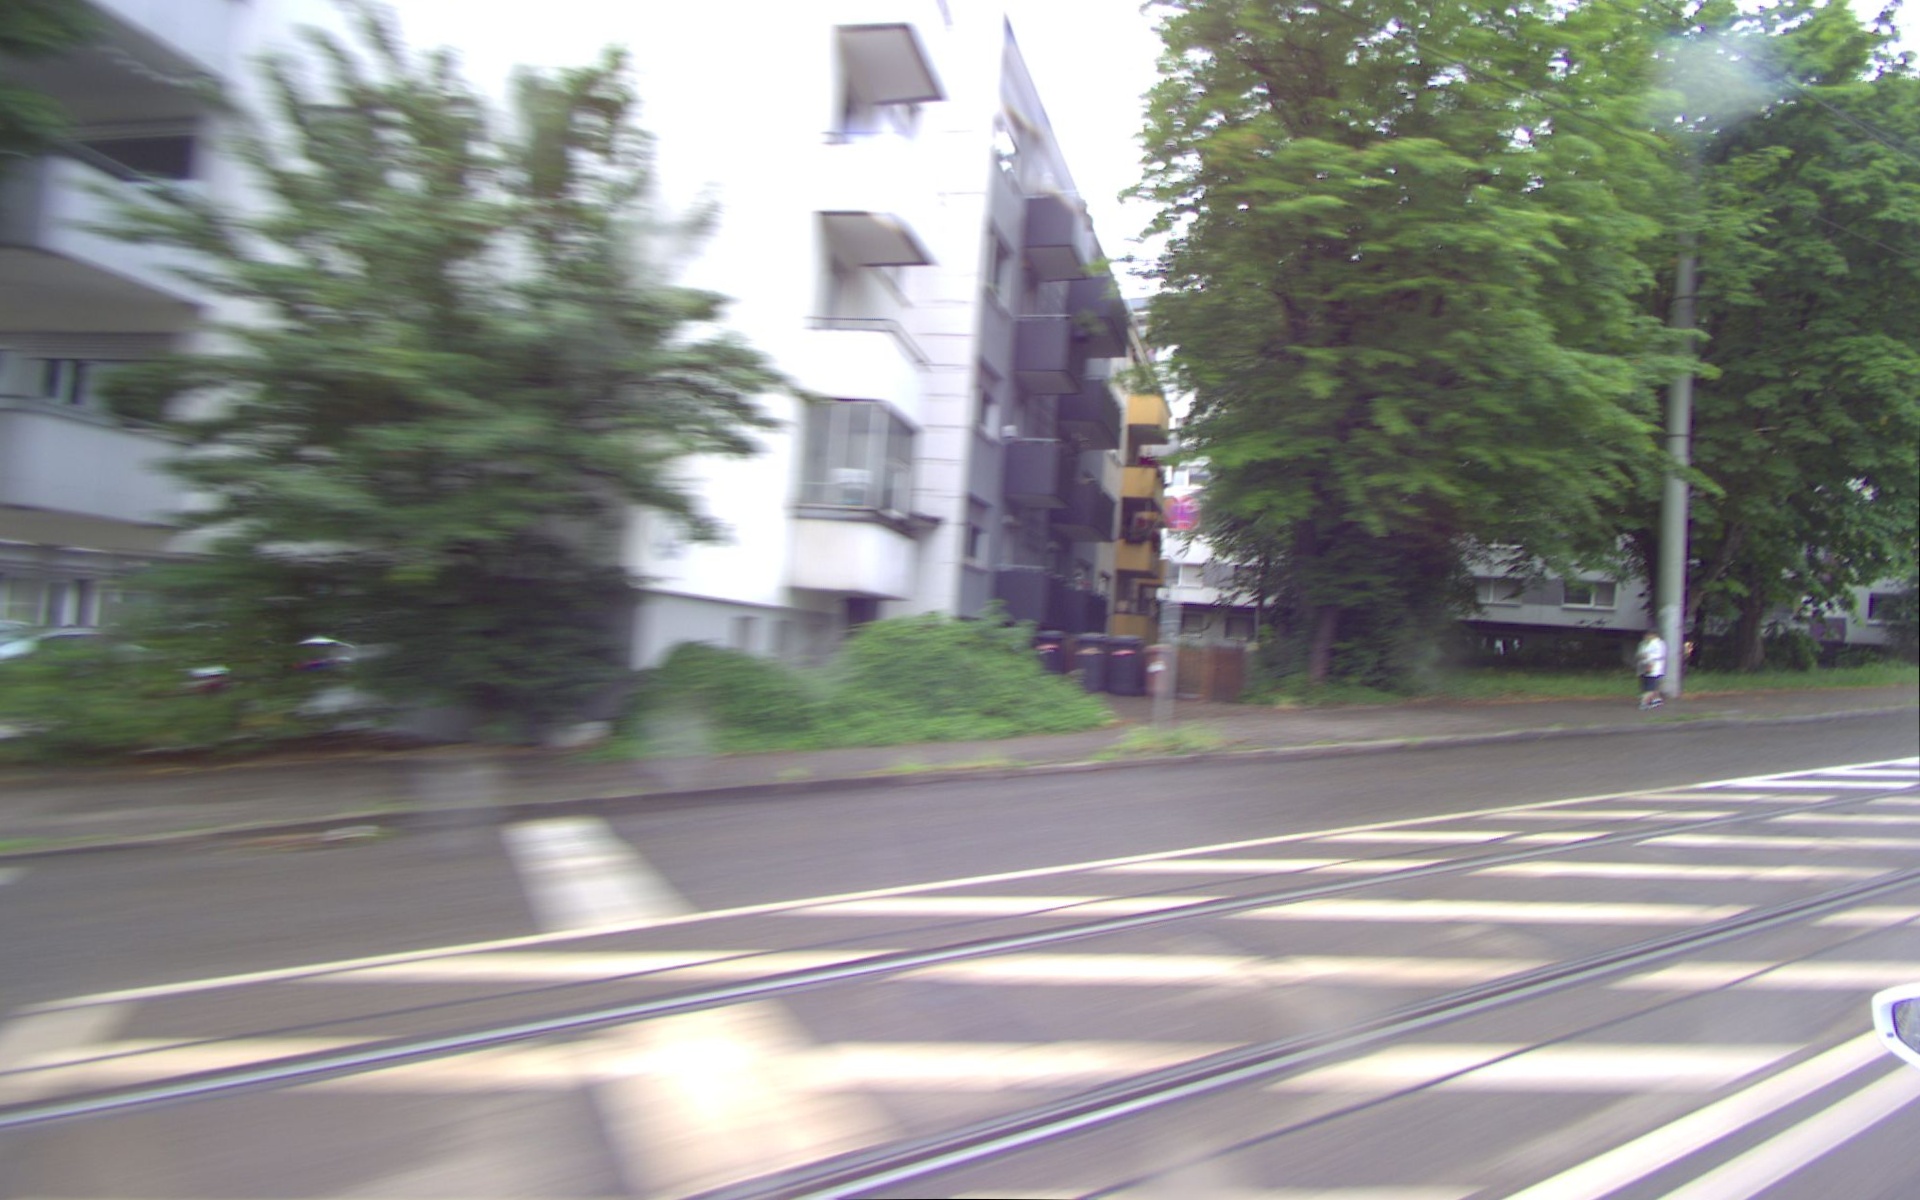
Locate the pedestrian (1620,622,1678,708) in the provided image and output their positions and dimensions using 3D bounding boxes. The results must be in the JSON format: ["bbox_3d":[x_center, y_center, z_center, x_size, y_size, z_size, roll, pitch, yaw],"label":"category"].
[{"bbox_3d":[13.523,1.262,19.711,0.860,1.621,0.579,2,1,-34],"label":"pedestrian"}]

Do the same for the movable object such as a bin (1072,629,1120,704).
[{"bbox_3d":[2.424,1.181,17.839,0.654,1.249,0.627,4,-2,19],"label":"movable object such as a bin"}]

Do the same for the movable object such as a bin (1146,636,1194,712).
[{"bbox_3d":[3.663,1.279,17.505,0.654,1.249,0.627,4,-2,19],"label":"movable object such as a bin"}]

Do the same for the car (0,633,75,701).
[{"bbox_3d":[-23.582,1.542,23.308,1.805,1.513,4.205,4,-2,14],"label":"car"}]

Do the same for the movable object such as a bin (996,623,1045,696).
[{"bbox_3d":[1.107,1.078,18.263,0.654,1.249,0.627,4,-2,19],"label":"movable object such as a bin"}]

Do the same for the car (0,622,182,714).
[{"bbox_3d":[-17.991,1.288,19.589,1.960,1.538,4.003,5,-2,13],"label":"car"}]

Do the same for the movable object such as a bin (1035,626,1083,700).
[{"bbox_3d":[1.786,1.131,18.045,0.654,1.249,0.627,4,-2,19],"label":"movable object such as a bin"}]

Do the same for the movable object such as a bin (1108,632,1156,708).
[{"bbox_3d":[3.023,1.227,17.642,0.654,1.249,0.627,4,-2,19],"label":"movable object such as a bin"}]
